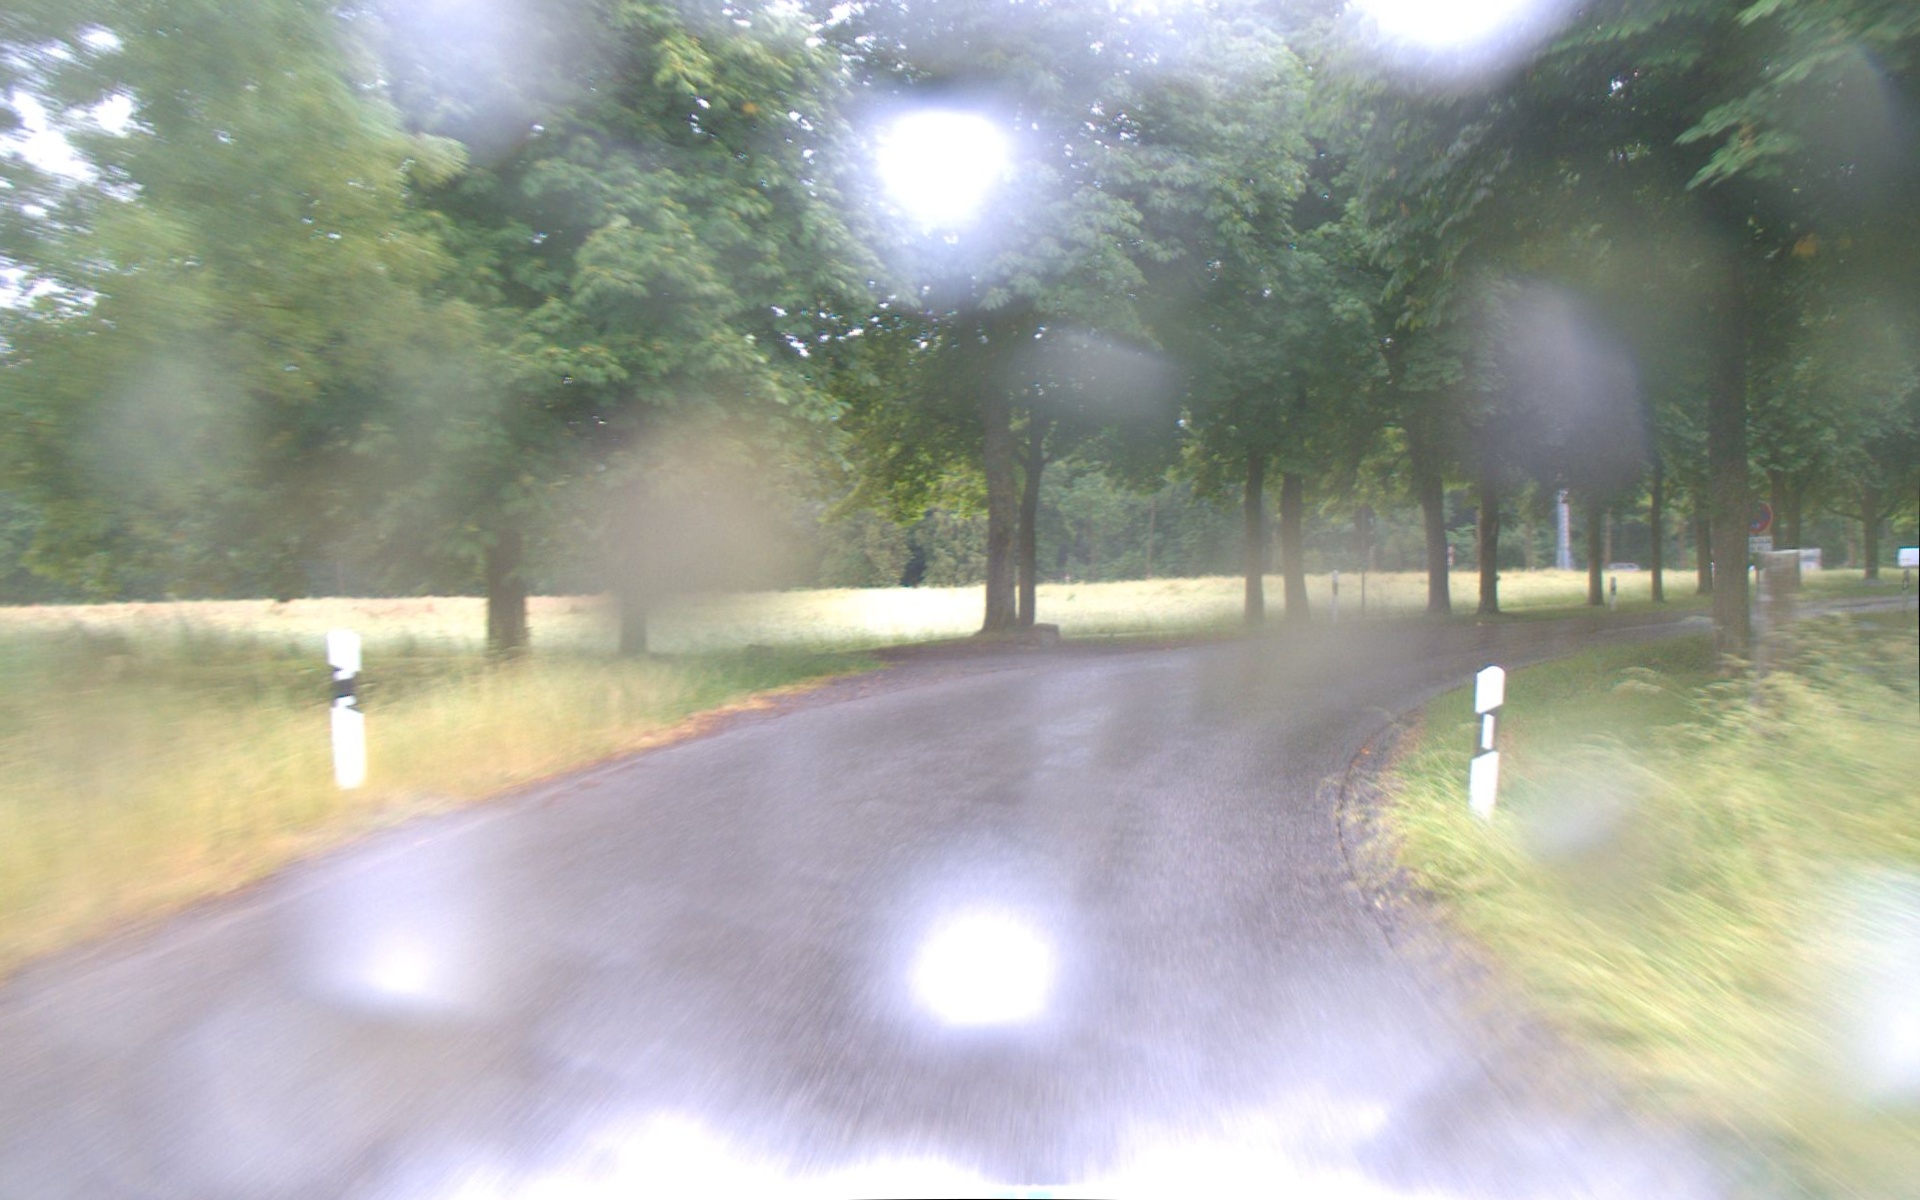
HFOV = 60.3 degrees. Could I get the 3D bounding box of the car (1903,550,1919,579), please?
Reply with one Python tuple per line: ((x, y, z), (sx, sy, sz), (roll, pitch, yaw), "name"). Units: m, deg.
((85.446, -3.144, 144.834), (2.336, 2.449, 5.983), (1, 0, -1), "car")
